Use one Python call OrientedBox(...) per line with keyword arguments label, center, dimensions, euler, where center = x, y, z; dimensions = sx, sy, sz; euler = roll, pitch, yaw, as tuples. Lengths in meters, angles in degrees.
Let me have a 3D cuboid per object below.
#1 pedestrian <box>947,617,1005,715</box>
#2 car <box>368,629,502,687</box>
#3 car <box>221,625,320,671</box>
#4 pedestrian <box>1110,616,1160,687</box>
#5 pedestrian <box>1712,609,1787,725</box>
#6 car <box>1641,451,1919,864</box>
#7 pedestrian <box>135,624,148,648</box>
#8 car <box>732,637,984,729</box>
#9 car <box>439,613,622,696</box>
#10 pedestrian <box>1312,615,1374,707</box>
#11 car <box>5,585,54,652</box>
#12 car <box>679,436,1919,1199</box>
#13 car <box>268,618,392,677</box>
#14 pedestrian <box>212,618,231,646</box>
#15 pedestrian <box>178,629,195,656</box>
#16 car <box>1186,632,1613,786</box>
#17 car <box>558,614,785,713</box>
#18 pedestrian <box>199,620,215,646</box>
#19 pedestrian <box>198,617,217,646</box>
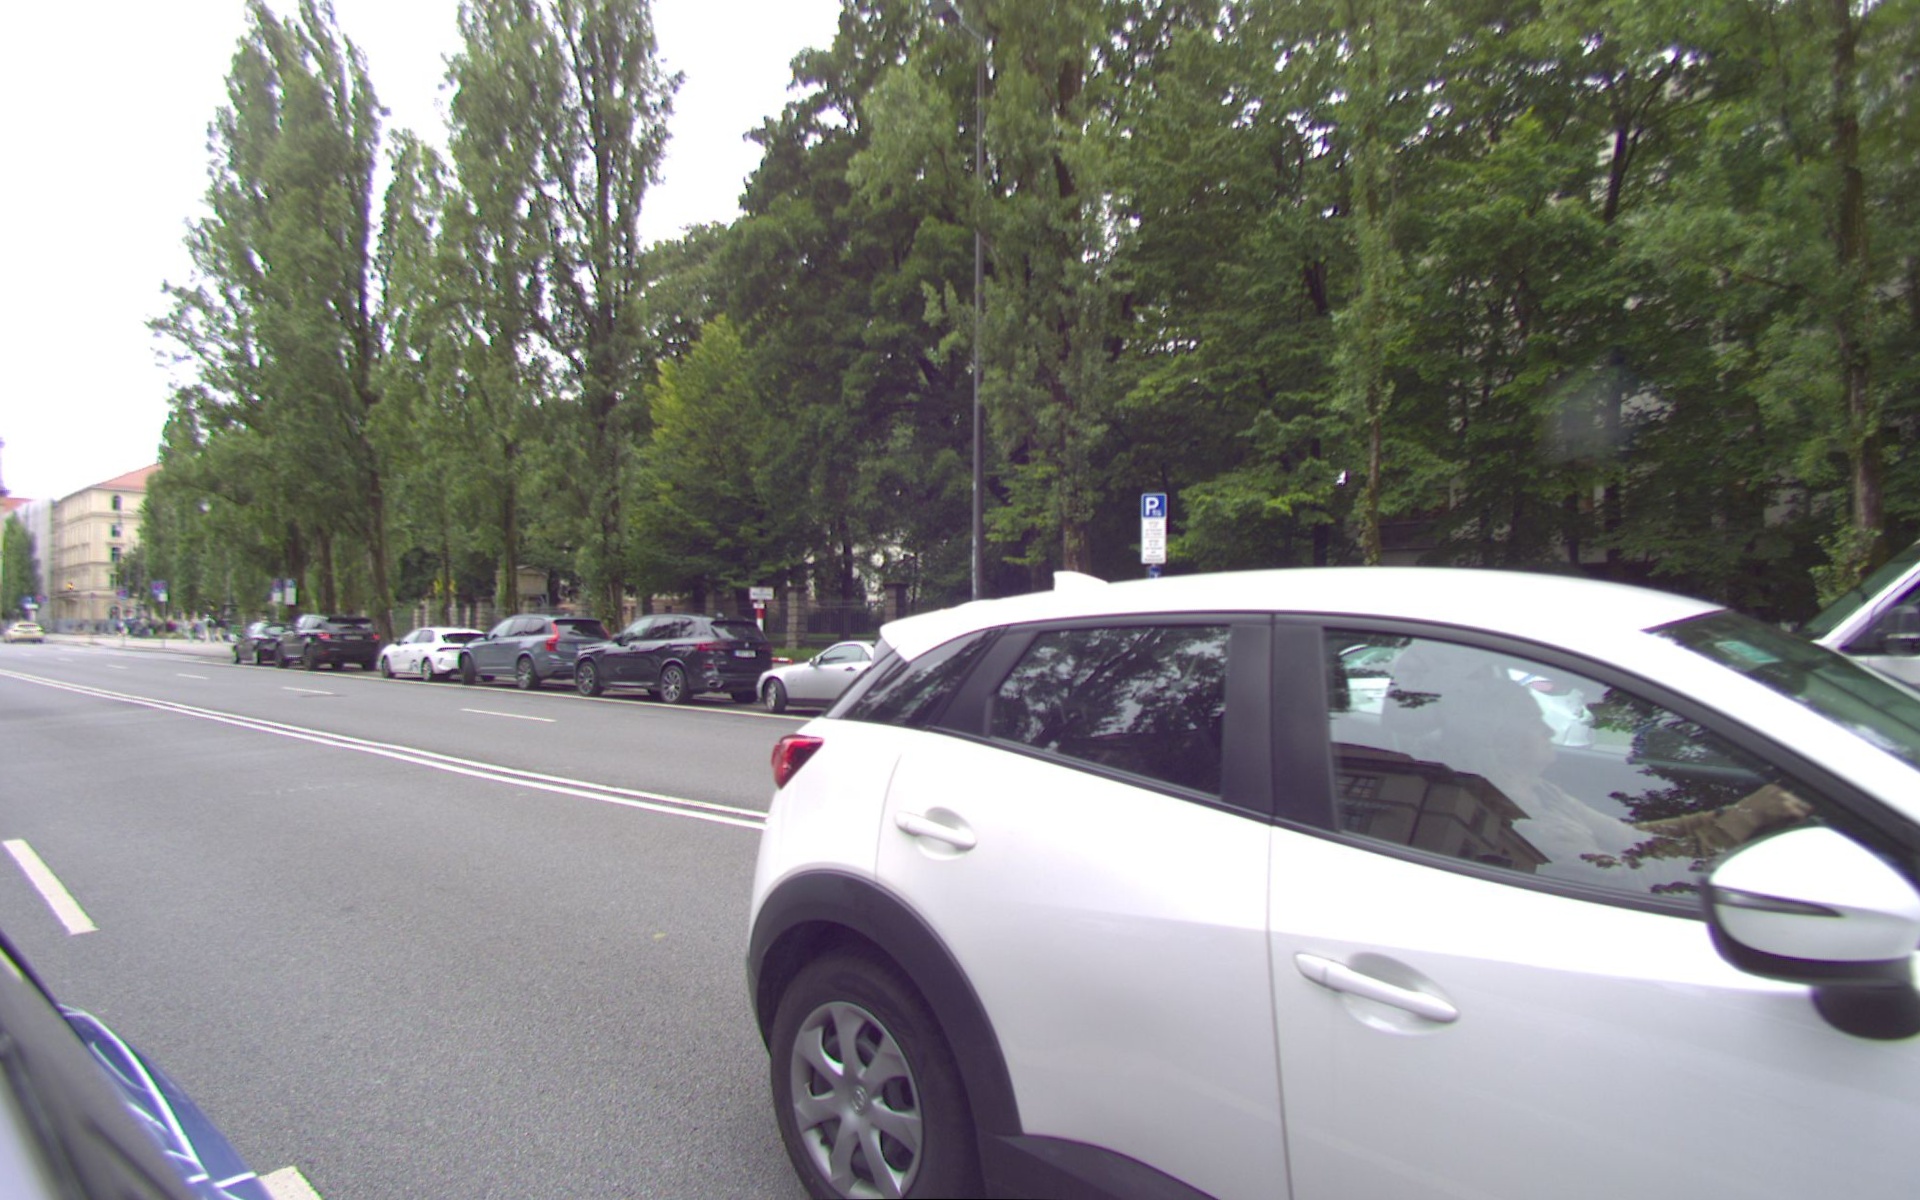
OrientedBox(label="pedestrian", center=(0.283, 1.150, 17.901), dimensions=(0.751, 1.677, 0.730), euler=(-1, -2, 41))
OrientedBox(label="car", center=(-14.437, 1.567, 27.741), dimensions=(4.269, 1.470, 1.687), euler=(-1, -4, 40))
OrientedBox(label="car", center=(-25.577, 1.760, 37.485), dimensions=(4.386, 1.596, 1.924), euler=(-1, -4, 41))
OrientedBox(label="pedestrian", center=(4.102, 1.195, 23.731), dimensions=(0.881, 1.611, 0.729), euler=(-1, -1, 41))
OrientedBox(label="pedestrian", center=(12.666, 1.052, 16.235), dimensions=(0.889, 1.785, 0.729), euler=(-1, -1, 41))
OrientedBox(label="car", center=(8.042, 0.359, 5.732), dimensions=(6.751, 2.502, 2.205), euler=(-1, -4, 40))
OrientedBox(label="pedestrian", center=(-59.514, 2.588, 73.611), dimensions=(0.581, 1.744, 0.527), euler=(-1, -2, 29))
OrientedBox(label="car", center=(-1.803, 1.341, 17.190), dimensions=(4.230, 1.344, 1.808), euler=(-1, -4, 40))
OrientedBox(label="car", center=(-10.502, 1.301, 24.549), dimensions=(5.175, 1.803, 1.890), euler=(-1, -5, 40))
OrientedBox(label="pedestrian", center=(7.554, 1.182, 19.979), dimensions=(0.956, 1.755, 0.659), euler=(-2, -2, 41))
OrientedBox(label="car", center=(-64.615, 1.278, 70.337), dimensions=(1.327, 4.513, 1.781), euler=(-39, -35, 13))
OrientedBox(label="car", center=(1.415, 0.622, 1.904), dimensions=(4.007, 1.537, 1.885), euler=(-2, -2, 41))
OrientedBox(label="car", center=(-20.808, 1.559, 33.332), dimensions=(4.796, 1.800, 2.025), euler=(-1, -4, 40))
OrientedBox(label="pedestrian", center=(-48.295, 2.097, 66.166), dimensions=(1.092, 1.786, 0.702), euler=(-1, -2, 39))
OrientedBox(label="pedestrian", center=(-50.943, 2.786, 66.627), dimensions=(0.885, 1.713, 0.681), euler=(-2, -2, 39))
OrientedBox(label="car", center=(4.955, 1.136, 11.718), dimensions=(4.229, 1.463, 1.753), euler=(-1, -4, 39))
OrientedBox(label="car", center=(-5.926, 1.250, 20.507), dimensions=(4.890, 1.781, 1.922), euler=(-1, -4, 39))
OrientedBox(label="pedestrian", center=(-50.135, 2.174, 67.389), dimensions=(0.910, 1.729, 0.653), euler=(-2, -2, 40))
OrientedBox(label="pedestrian", center=(-48.757, 2.032, 65.593), dimensions=(1.092, 1.847, 0.702), euler=(-1, -2, 39))
